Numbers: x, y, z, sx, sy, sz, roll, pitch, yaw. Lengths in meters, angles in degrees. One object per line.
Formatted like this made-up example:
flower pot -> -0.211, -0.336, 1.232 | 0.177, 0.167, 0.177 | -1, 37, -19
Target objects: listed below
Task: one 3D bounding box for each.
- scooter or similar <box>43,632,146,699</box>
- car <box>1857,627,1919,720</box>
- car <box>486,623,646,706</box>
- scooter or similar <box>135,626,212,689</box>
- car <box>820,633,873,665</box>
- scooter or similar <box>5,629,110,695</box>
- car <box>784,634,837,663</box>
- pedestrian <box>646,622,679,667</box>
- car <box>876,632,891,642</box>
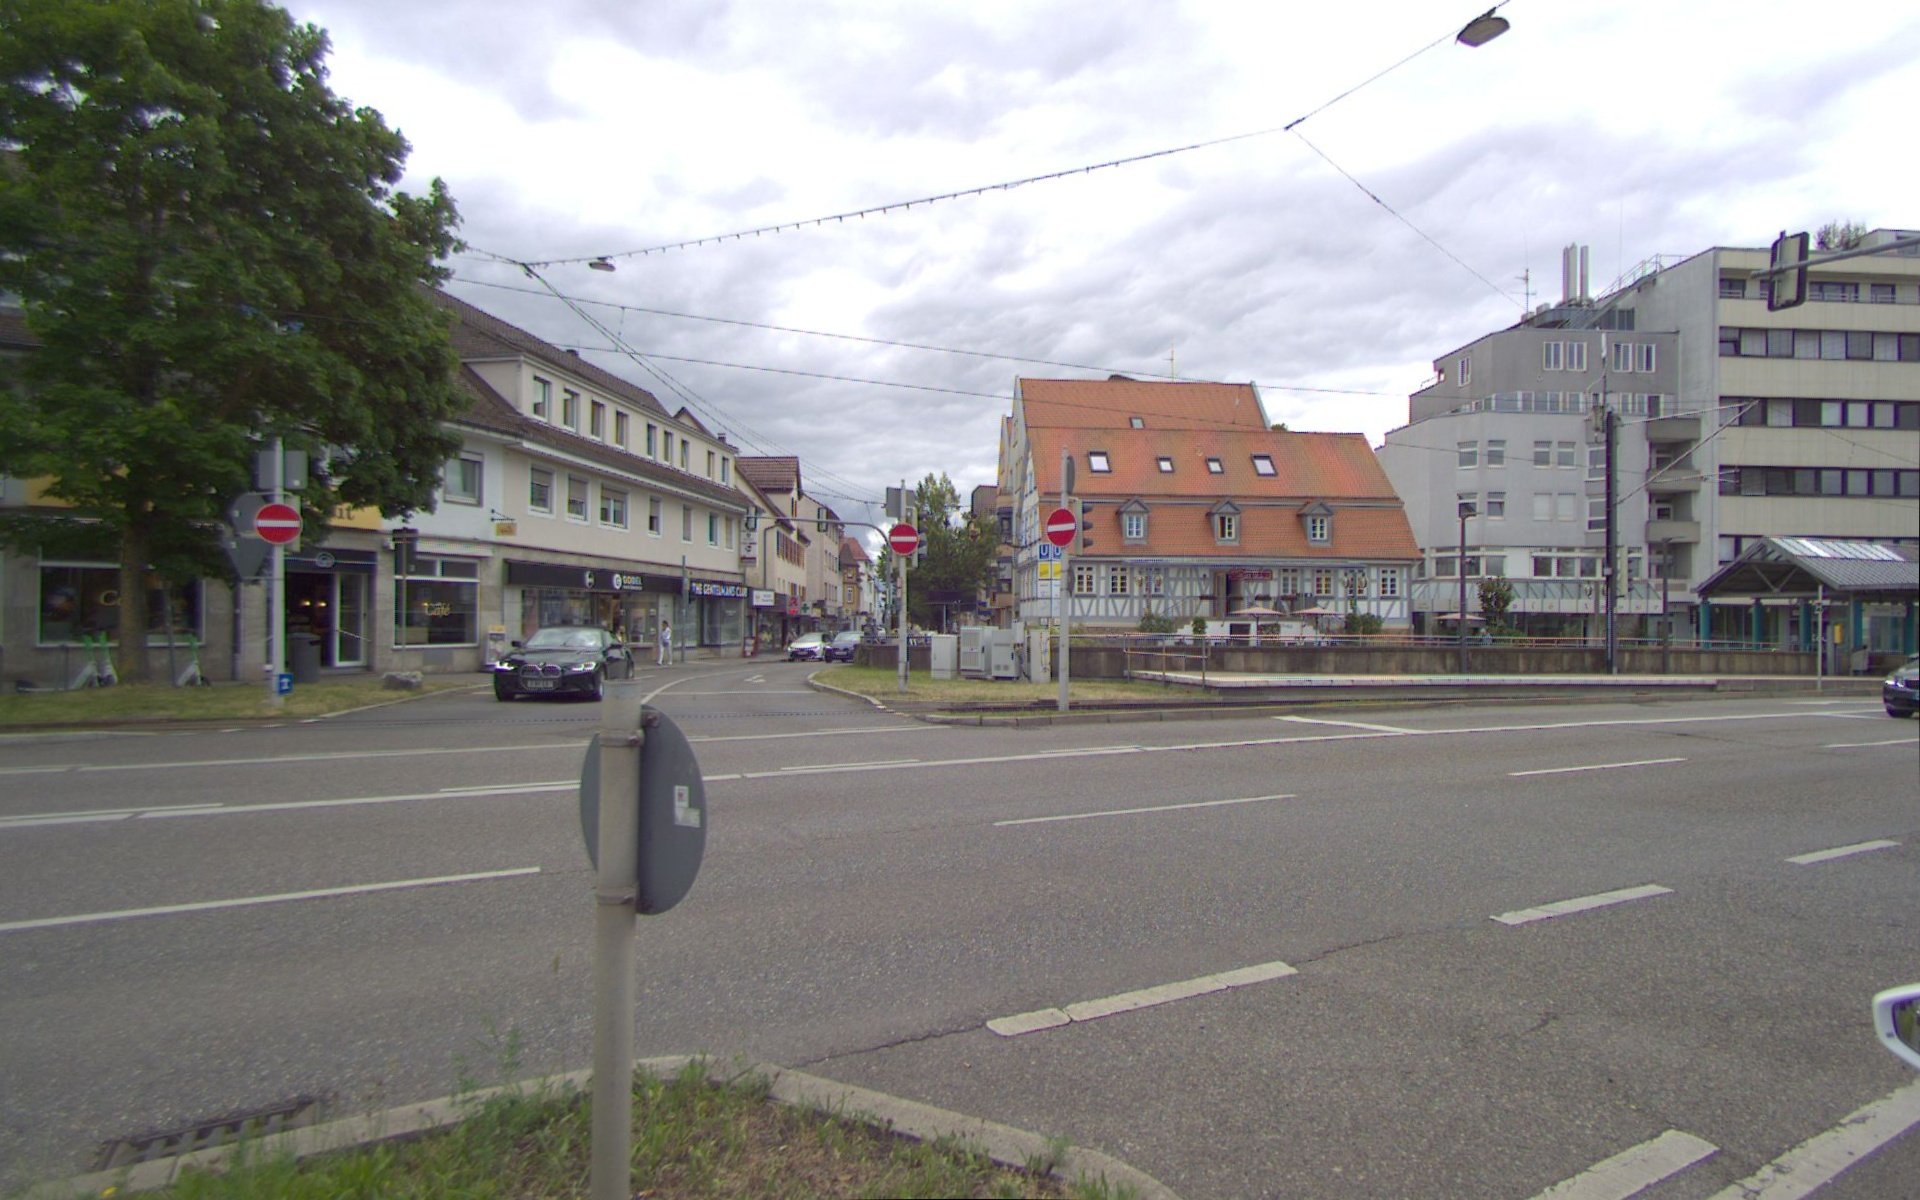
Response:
scooter or similar -> -14.166, 1.067, 16.471 | 1.157, 1.059, 0.490 | 1, -1, -16
car -> 17.486, 1.229, 17.021 | 4.550, 1.474, 1.793 | 1, -1, -25
car -> -7.431, 1.165, 19.432 | 1.793, 1.399, 4.677 | 1, -1, -8
scooter or similar -> -14.030, 1.019, 17.935 | 0.978, 1.100, 0.422 | 1, -1, -25
car -> -5.023, 2.176, 45.099 | 1.948, 1.312, 3.911 | 1, -1, -1
scooter or similar -> -15.437, 1.051, 17.207 | 1.158, 1.100, 0.601 | 1, -1, -20
car -> -7.433, 2.408, 50.138 | 1.947, 1.312, 3.912 | 1, -1, 2
pedestrian -> -11.341, 1.700, 38.307 | 0.858, 1.692, 0.859 | 0, -1, 10
car -> -10.502, 5.078, 137.681 | 1.949, 1.312, 3.909 | 1, -1, -4
